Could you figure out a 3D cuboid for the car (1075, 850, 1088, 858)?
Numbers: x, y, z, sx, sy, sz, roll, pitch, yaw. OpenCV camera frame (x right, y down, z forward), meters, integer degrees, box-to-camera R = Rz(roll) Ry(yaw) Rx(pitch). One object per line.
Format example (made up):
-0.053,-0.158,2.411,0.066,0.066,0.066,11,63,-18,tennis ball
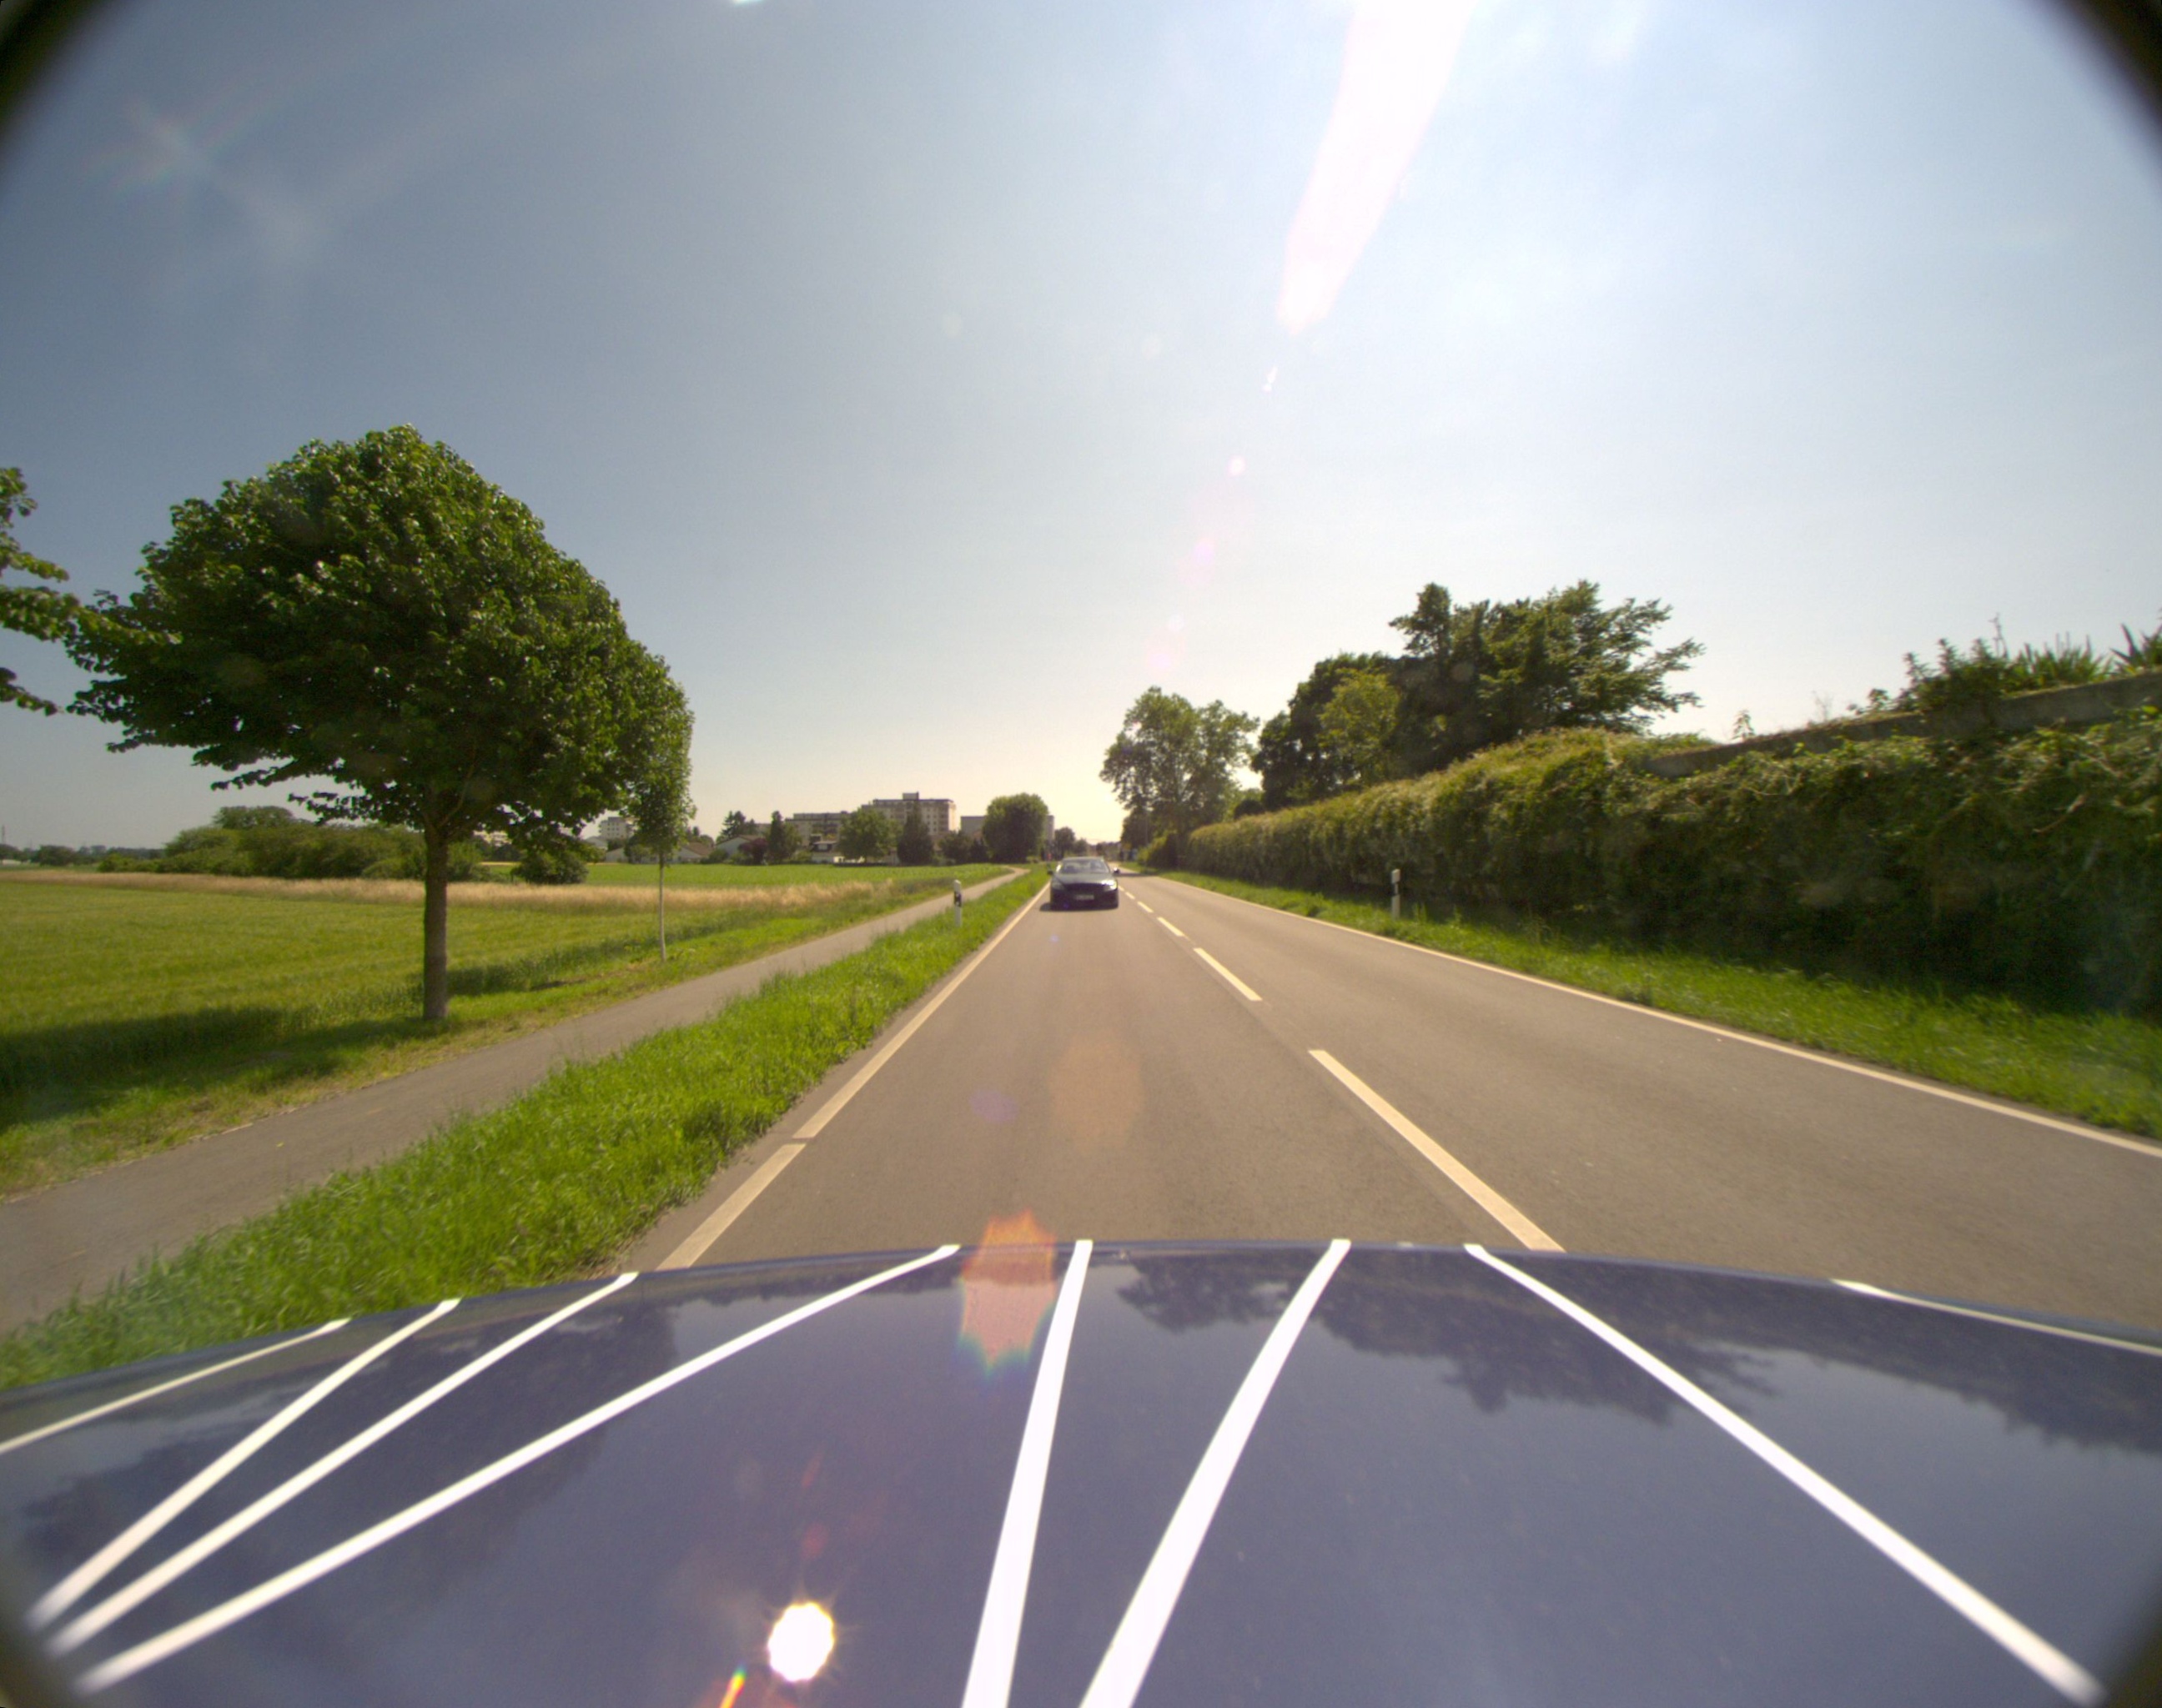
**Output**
0.113,0.043,198.171,2.152,1.940,5.242,1,0,-11,car

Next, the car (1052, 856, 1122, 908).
0.091,0.818,24.158,1.889,1.429,4.837,-2,0,-3,car
